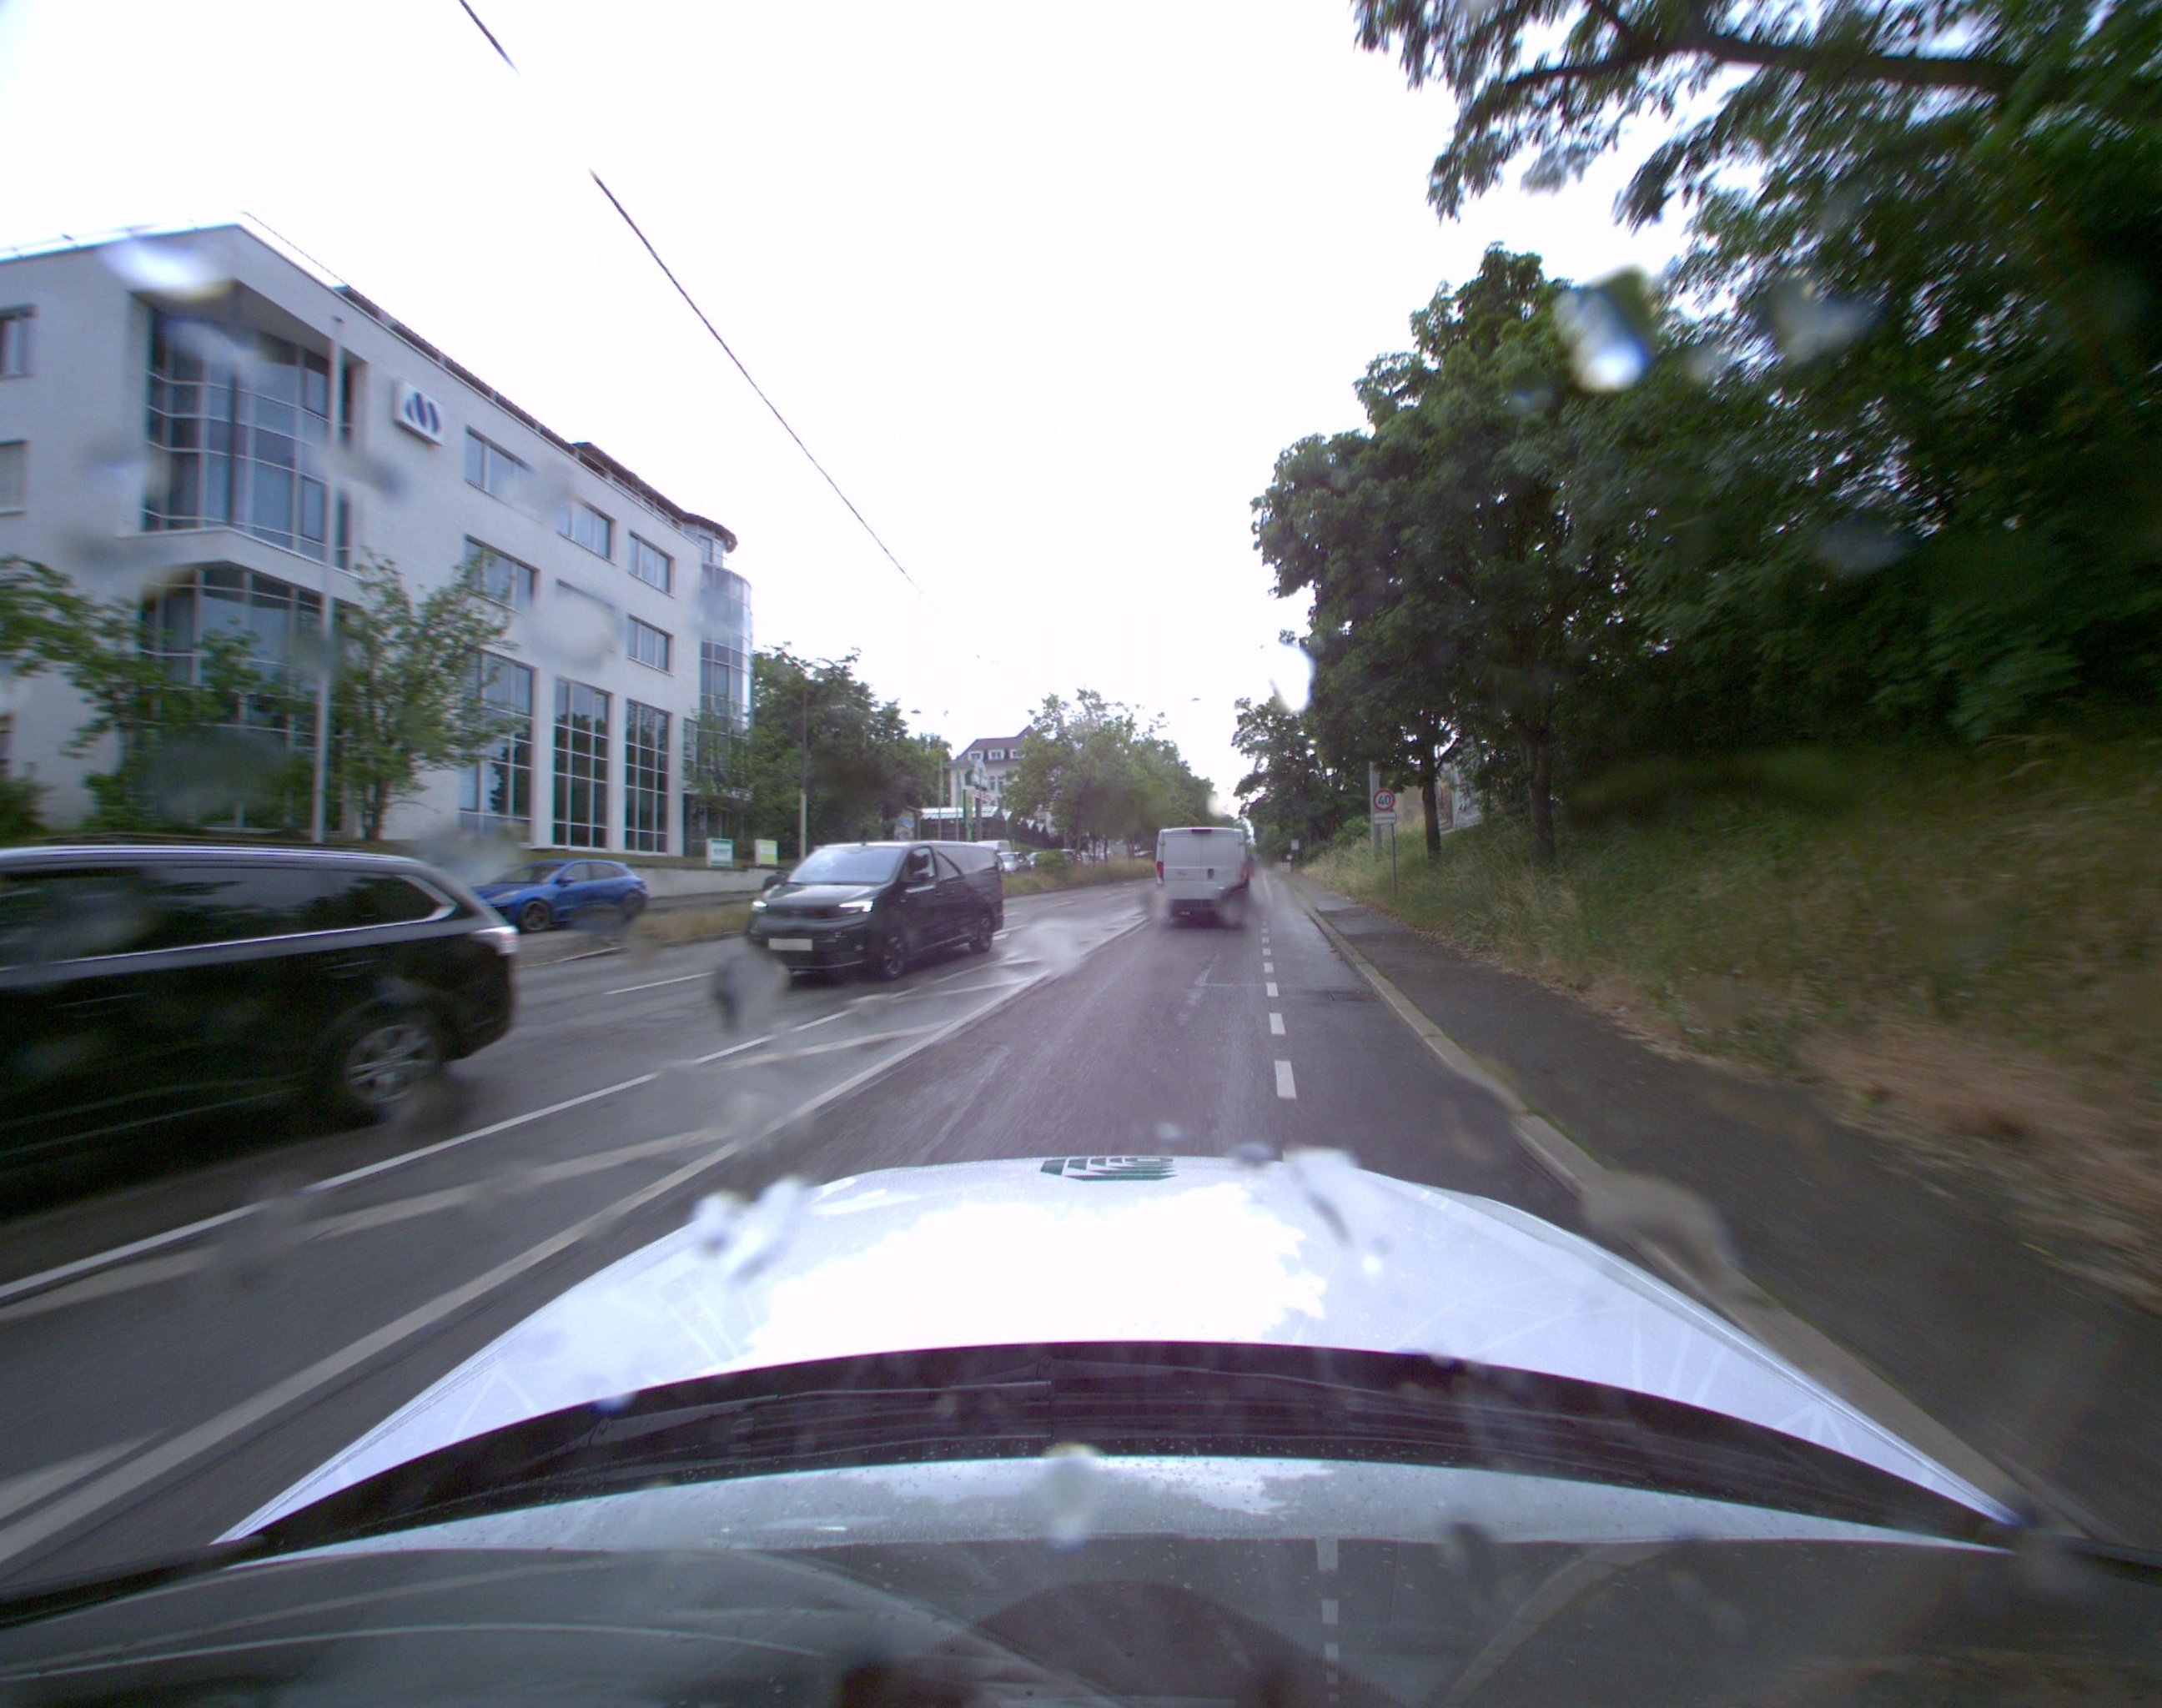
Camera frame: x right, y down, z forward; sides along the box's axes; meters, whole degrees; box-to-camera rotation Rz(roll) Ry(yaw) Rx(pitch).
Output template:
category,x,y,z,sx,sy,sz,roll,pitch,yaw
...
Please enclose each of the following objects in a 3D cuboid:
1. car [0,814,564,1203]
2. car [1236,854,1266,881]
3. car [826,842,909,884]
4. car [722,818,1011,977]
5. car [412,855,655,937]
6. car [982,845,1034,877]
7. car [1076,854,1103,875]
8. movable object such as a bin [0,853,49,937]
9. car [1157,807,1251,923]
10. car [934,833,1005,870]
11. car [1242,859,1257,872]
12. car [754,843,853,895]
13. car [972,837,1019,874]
category,x,y,z,sx,sy,sz,roll,pitch,yaw
car,-5.206,0.678,3.914,1.677,1.605,4.744,-2,-3,13
car,9.962,0.812,47.598,1.681,1.426,3.379,0,-3,13
car,-9.457,0.374,36.476,1.759,1.746,4.597,-2,0,11
car,-2.819,0.560,12.189,2.001,1.867,5.059,-2,-1,13
car,-12.008,0.835,18.328,1.677,1.534,4.686,-2,0,10
car,-3.730,0.340,42.298,1.582,1.540,4.004,-2,0,11
car,0.665,0.805,60.937,1.351,1.395,3.718,-2,-3,11
movable object such as a bin,-18.719,0.685,13.771,1.179,1.406,1.101,0,0,8
car,3.128,0.255,20.257,2.037,2.516,4.957,0,0,10
car,-4.812,-0.117,35.879,1.636,1.478,4.458,-2,0,12
car,17.100,1.166,82.680,1.334,1.139,2.297,-2,-3,13
car,-9.995,0.491,29.679,1.600,1.722,4.005,-2,0,10
car,-5.975,0.110,57.618,1.952,2.443,5.669,-2,0,8
